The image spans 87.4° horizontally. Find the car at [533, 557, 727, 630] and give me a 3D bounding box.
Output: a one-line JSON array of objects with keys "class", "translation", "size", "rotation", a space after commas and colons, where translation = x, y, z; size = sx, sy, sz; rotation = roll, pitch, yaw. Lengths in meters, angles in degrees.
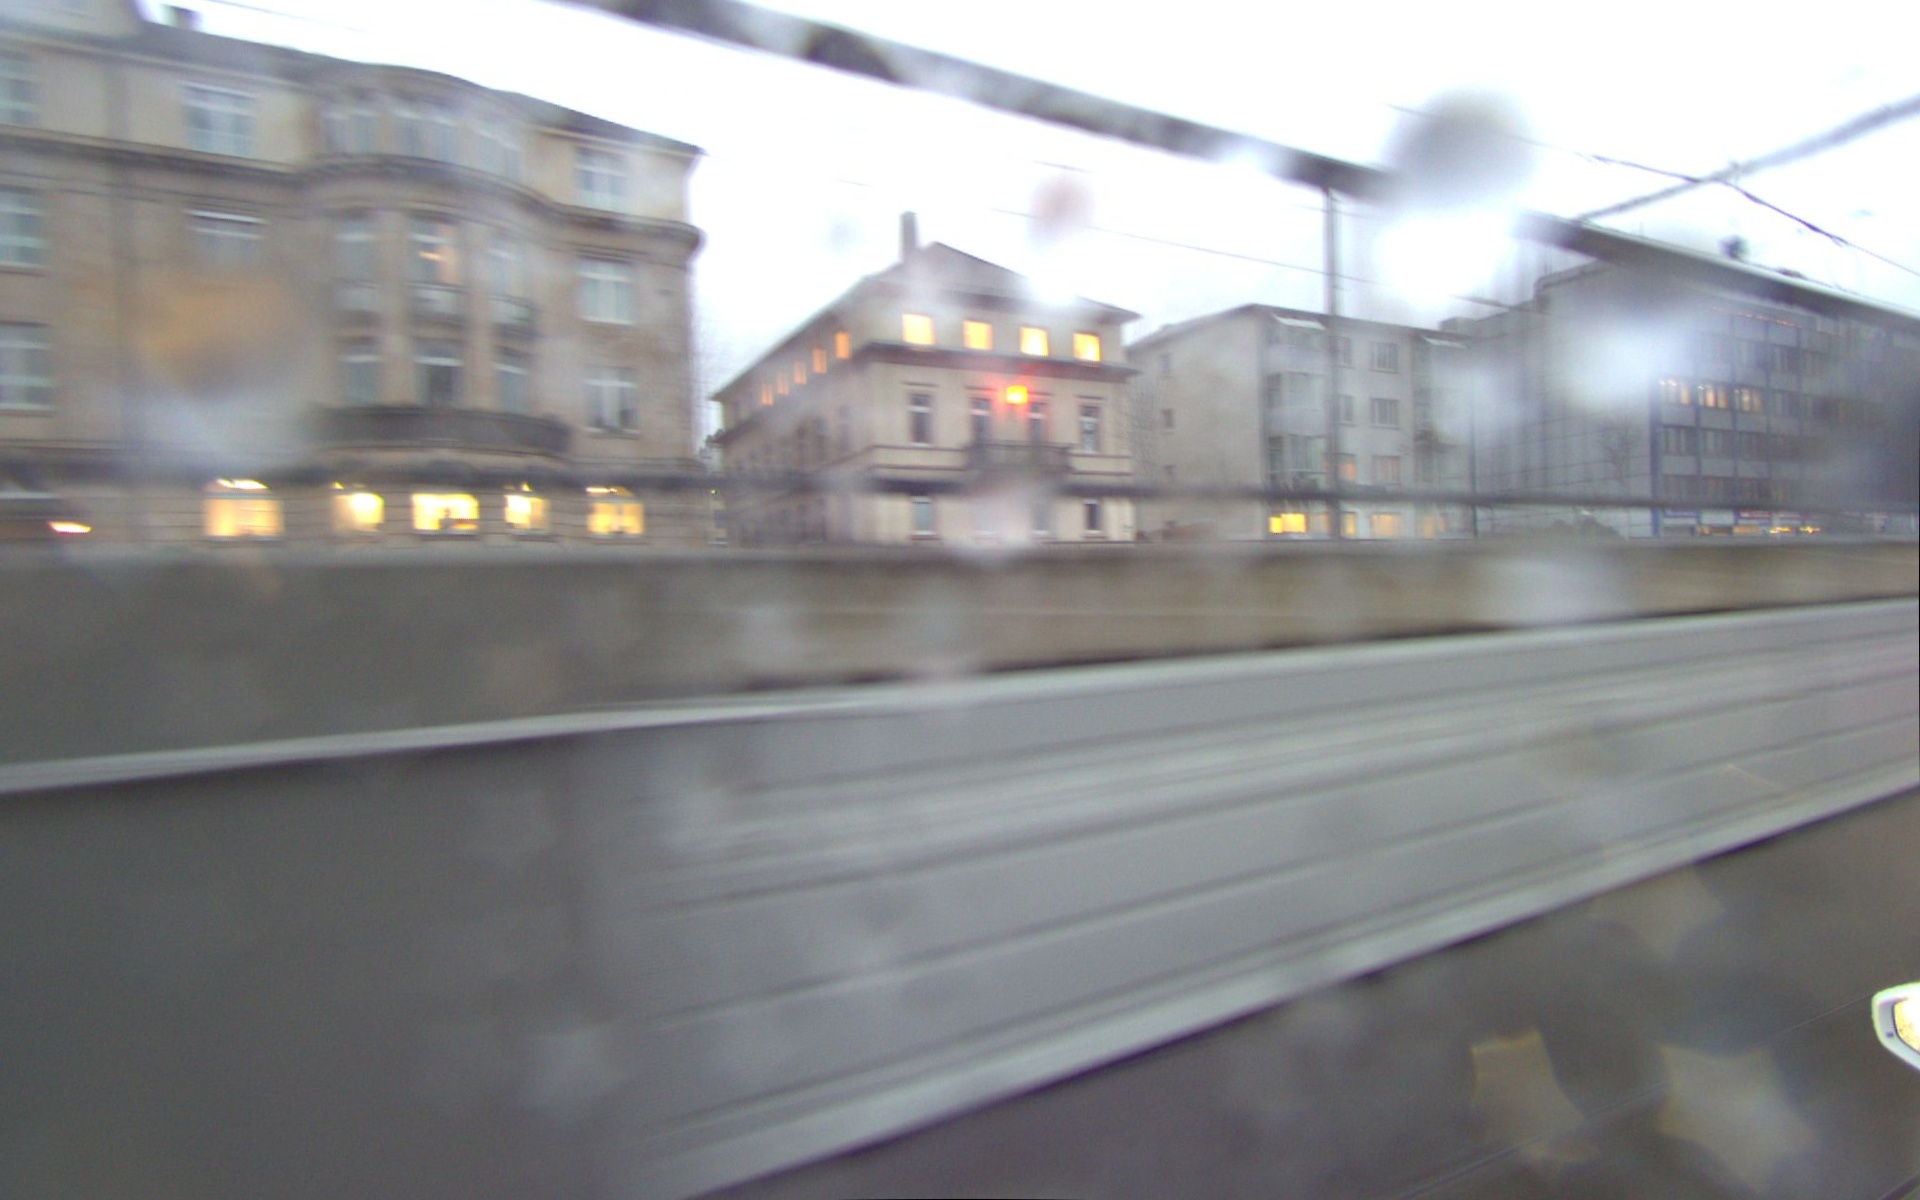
[{"class": "car", "translation": [-8.389, -0.197, 25.588], "size": [4.374, 1.653, 1.985], "rotation": [-2, 1, -29]}]
